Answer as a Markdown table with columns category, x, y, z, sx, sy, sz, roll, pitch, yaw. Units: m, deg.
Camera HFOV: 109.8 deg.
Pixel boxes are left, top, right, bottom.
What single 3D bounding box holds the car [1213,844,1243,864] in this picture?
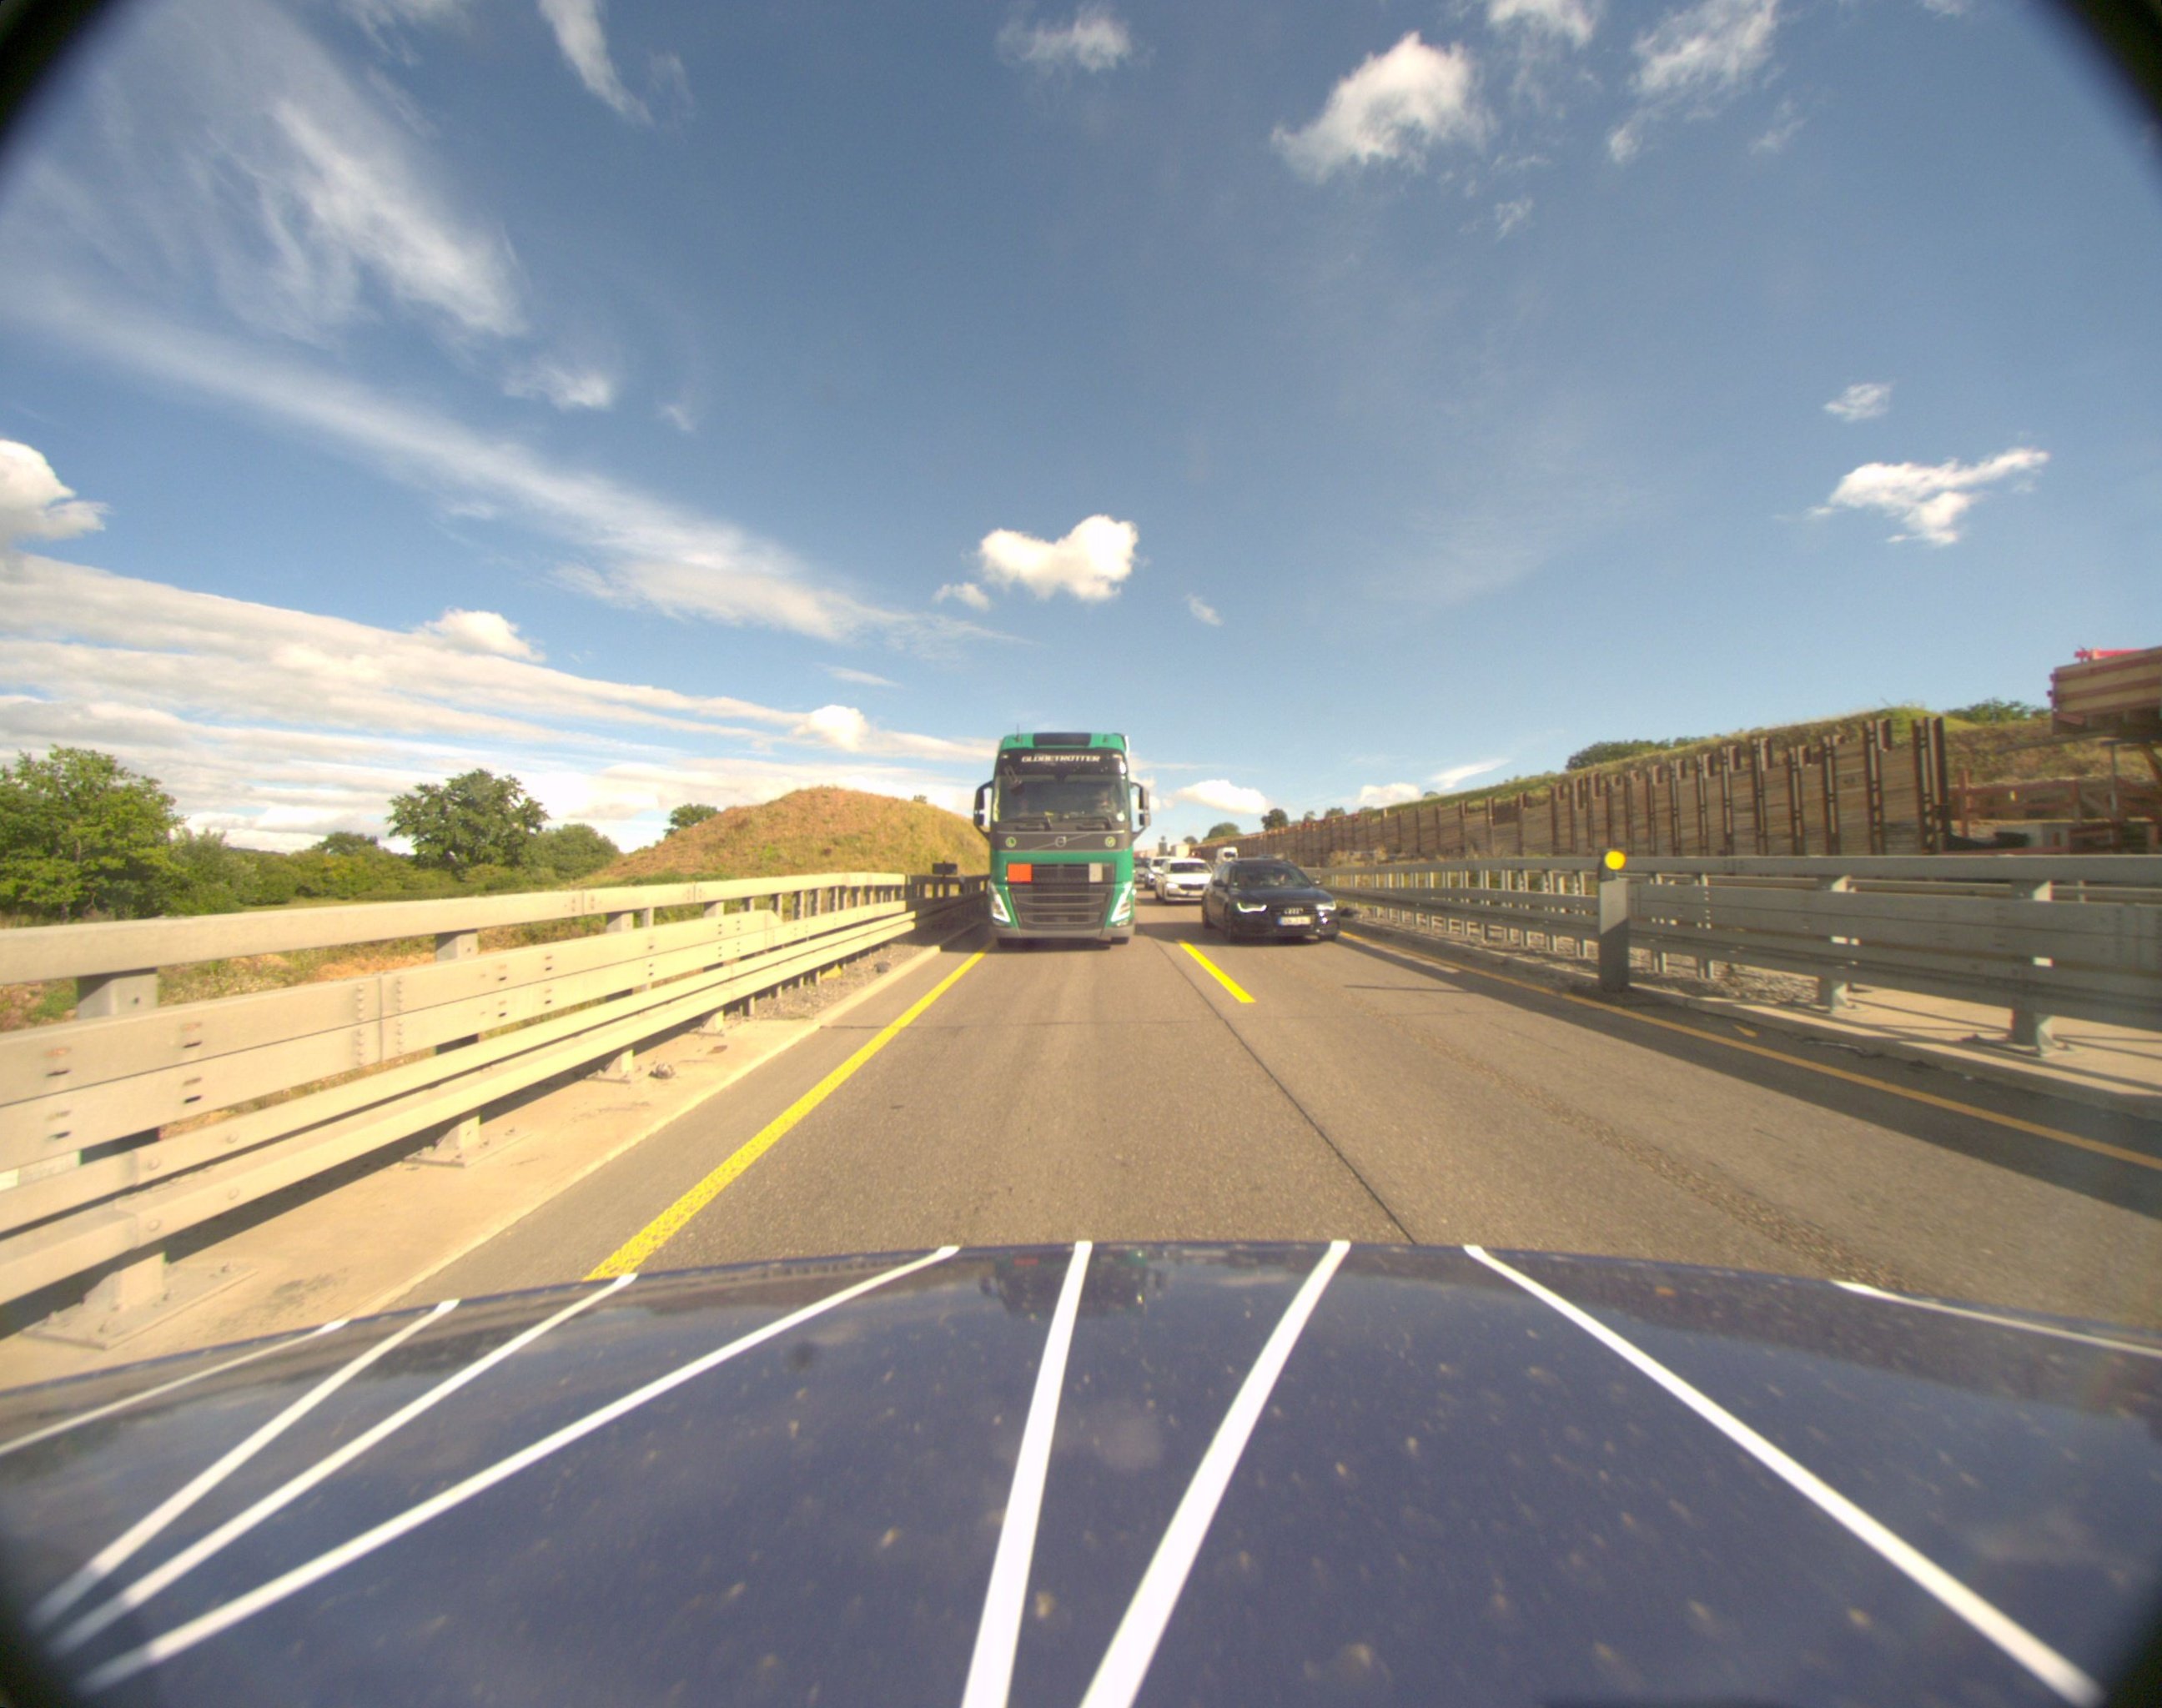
| category | x | y | z | sx | sy | sz | roll | pitch | yaw |
| --- | --- | --- | --- | --- | --- | --- | --- | --- | --- |
| car | 18.828 | -0.031 | 97.515 | 2.572 | 2.329 | 6.404 | -2 | 1 | 1 |

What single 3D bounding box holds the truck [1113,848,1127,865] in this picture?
| category | x | y | z | sx | sy | sz | roll | pitch | yaw |
| --- | --- | --- | --- | --- | --- | --- | --- | --- | --- |
| truck | 9.118 | 0.467 | 178.170 | 2.663 | 3.825 | 10.316 | -2 | 1 | 1 |

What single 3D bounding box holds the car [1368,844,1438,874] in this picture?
| category | x | y | z | sx | sy | sz | roll | pitch | yaw |
| --- | --- | --- | --- | --- | --- | --- | --- | --- | --- |
| car | 17.668 | 0.228 | 41.951 | 1.949 | 1.422 | 4.407 | -3 | 1 | 0 |

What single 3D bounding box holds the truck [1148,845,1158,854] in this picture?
| category | x | y | z | sx | sy | sz | roll | pitch | yaw |
| --- | --- | --- | --- | --- | --- | --- | --- | --- | --- |
| truck | 20.781 | -1.332 | 219.084 | 2.383 | 2.503 | 6.553 | -2 | 1 | 1 |

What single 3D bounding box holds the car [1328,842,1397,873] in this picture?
| category | x | y | z | sx | sy | sz | roll | pitch | yaw |
| --- | --- | --- | --- | --- | --- | --- | --- | --- | --- |
| car | 14.731 | 0.136 | 40.005 | 1.949 | 1.422 | 4.407 | -3 | 1 | 0 |

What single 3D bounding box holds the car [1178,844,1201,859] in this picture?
| category | x | y | z | sx | sy | sz | roll | pitch | yaw |
| --- | --- | --- | --- | --- | --- | --- | --- | --- | --- |
| car | 18.333 | -0.413 | 128.429 | 2.887 | 2.329 | 6.404 | -2 | 1 | 1 |

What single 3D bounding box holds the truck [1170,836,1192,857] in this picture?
| category | x | y | z | sx | sy | sz | roll | pitch | yaw |
| --- | --- | --- | --- | --- | --- | --- | --- | --- | --- |
| truck | 19.462 | -1.466 | 148.152 | 3.178 | 3.843 | 8.233 | -2 | 1 | 1 |

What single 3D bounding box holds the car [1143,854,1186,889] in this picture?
| category | x | y | z | sx | sy | sz | roll | pitch | yaw |
| --- | --- | --- | --- | --- | --- | --- | --- | --- | --- |
| car | 3.945 | 0.797 | 36.445 | 1.659 | 1.510 | 3.999 | -2 | 1 | 1 |

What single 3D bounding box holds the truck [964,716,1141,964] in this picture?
| category | x | y | z | sx | sy | sz | roll | pitch | yaw |
| --- | --- | --- | --- | --- | --- | --- | --- | --- | --- |
| truck | -0.364 | -0.286 | 17.149 | 2.663 | 3.825 | 10.316 | -2 | 1 | 1 |

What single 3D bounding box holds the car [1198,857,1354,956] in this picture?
| category | x | y | z | sx | sy | sz | roll | pitch | yaw |
| --- | --- | --- | --- | --- | --- | --- | --- | --- | --- |
| car | 3.492 | 0.855 | 14.482 | 1.948 | 1.422 | 4.504 | -2 | 1 | 2 |

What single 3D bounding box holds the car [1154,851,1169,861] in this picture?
| category | x | y | z | sx | sy | sz | roll | pitch | yaw |
| --- | --- | --- | --- | --- | --- | --- | --- | --- | --- |
| car | 19.656 | 0.401 | 186.241 | 2.887 | 2.329 | 6.404 | -2 | 1 | 1 |

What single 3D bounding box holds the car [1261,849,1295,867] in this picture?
| category | x | y | z | sx | sy | sz | roll | pitch | yaw |
| --- | --- | --- | --- | --- | --- | --- | --- | --- | --- |
| car | 18.049 | 0.359 | 69.725 | 1.949 | 1.422 | 4.407 | -3 | 1 | 0 |

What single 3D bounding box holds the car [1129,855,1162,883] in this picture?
| category | x | y | z | sx | sy | sz | roll | pitch | yaw |
| --- | --- | --- | --- | --- | --- | --- | --- | --- | --- |
| car | 3.902 | 0.883 | 46.271 | 1.659 | 1.510 | 3.999 | -2 | 1 | 1 |

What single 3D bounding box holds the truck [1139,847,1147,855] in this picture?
| category | x | y | z | sx | sy | sz | roll | pitch | yaw |
| --- | --- | --- | --- | --- | --- | --- | --- | --- | --- |
| truck | 20.174 | -1.092 | 246.485 | 1.998 | 2.503 | 6.553 | -2 | 1 | 1 |

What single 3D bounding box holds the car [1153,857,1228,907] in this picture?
| category | x | y | z | sx | sy | sz | roll | pitch | yaw |
| --- | --- | --- | --- | --- | --- | --- | --- | --- | --- |
| car | 3.566 | 0.860 | 25.483 | 1.949 | 1.422 | 4.408 | -1 | 1 | 1 |
